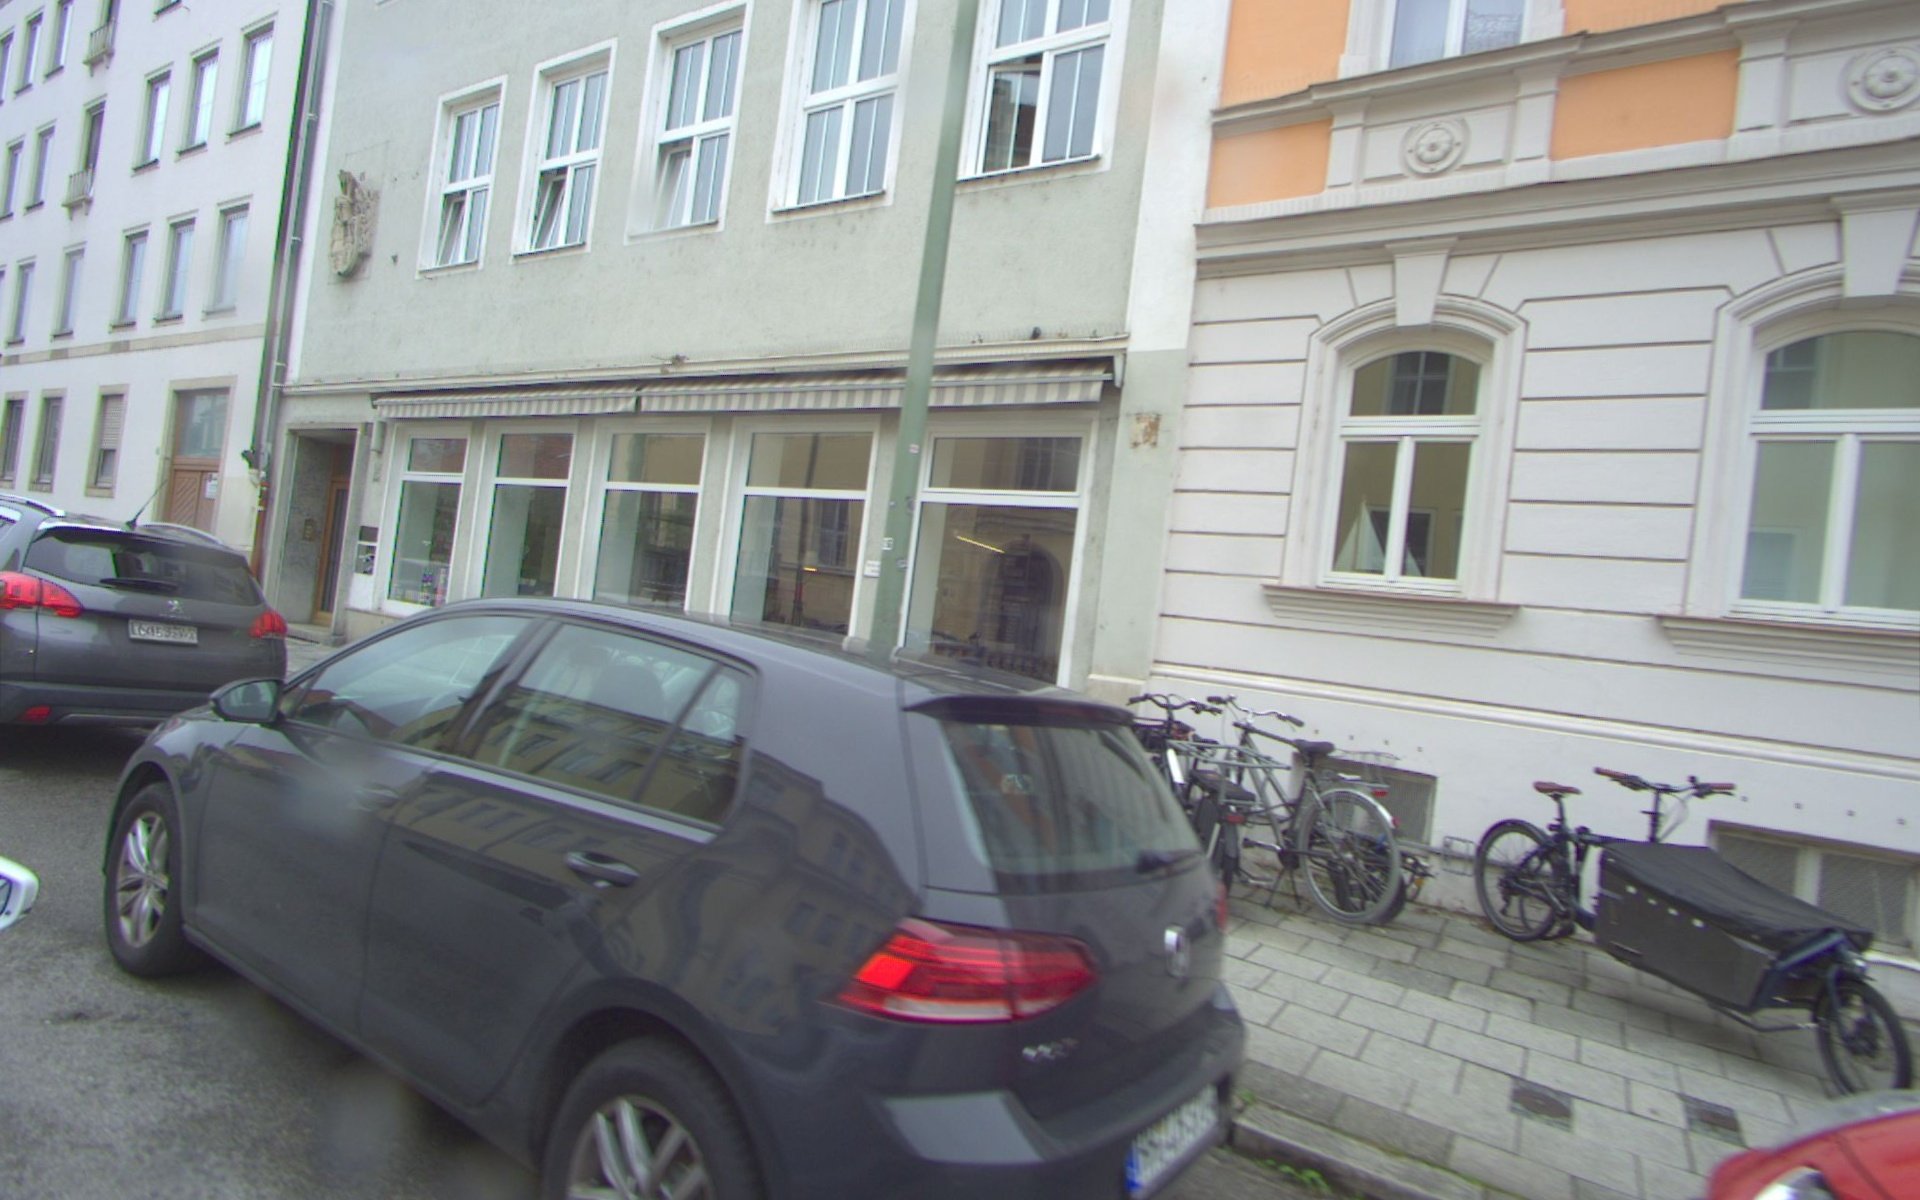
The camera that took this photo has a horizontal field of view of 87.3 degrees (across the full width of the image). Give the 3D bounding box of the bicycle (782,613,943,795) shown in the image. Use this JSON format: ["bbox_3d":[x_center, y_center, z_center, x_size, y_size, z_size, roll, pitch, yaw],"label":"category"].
[{"bbox_3d":[-0.801,0.813,8.101,1.212,1.271,0.248,7,0,28],"label":"bicycle"}]

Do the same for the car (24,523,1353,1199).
[{"bbox_3d":[-1.206,0.684,3.306,4.294,1.418,1.690,6,-2,34],"label":"car"}]

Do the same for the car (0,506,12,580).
[{"bbox_3d":[-11.674,-0.484,10.323,4.456,1.445,1.676,6,-3,33],"label":"car"}]

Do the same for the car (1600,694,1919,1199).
[{"bbox_3d":[3.114,1.175,0.910,4.076,1.516,1.692,7,-3,29],"label":"car"}]

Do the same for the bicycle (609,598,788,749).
[{"bbox_3d":[-2.511,0.665,9.548,1.785,1.190,0.396,6,-1,32],"label":"bicycle"}]

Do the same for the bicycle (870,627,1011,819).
[{"bbox_3d":[-0.150,0.886,7.459,0.900,1.271,0.248,7,0,28],"label":"bicycle"}]

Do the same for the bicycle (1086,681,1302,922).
[{"bbox_3d":[1.351,1.139,6.203,0.507,1.080,1.845,7,-1,-10],"label":"bicycle"}]

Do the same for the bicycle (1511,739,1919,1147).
[{"bbox_3d":[3.528,1.369,4.466,0.575,1.153,2.088,7,-1,-11],"label":"bicycle"}]

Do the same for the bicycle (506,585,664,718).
[{"bbox_3d":[-4.046,0.526,10.784,1.917,1.171,0.385,7,0,32],"label":"bicycle"}]

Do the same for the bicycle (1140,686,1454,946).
[{"bbox_3d":[1.879,1.182,5.943,0.614,1.102,1.805,7,-1,-23],"label":"bicycle"}]

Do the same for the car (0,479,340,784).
[{"bbox_3d":[-6.550,0.049,7.067,4.287,1.610,1.711,7,-3,29],"label":"car"}]
